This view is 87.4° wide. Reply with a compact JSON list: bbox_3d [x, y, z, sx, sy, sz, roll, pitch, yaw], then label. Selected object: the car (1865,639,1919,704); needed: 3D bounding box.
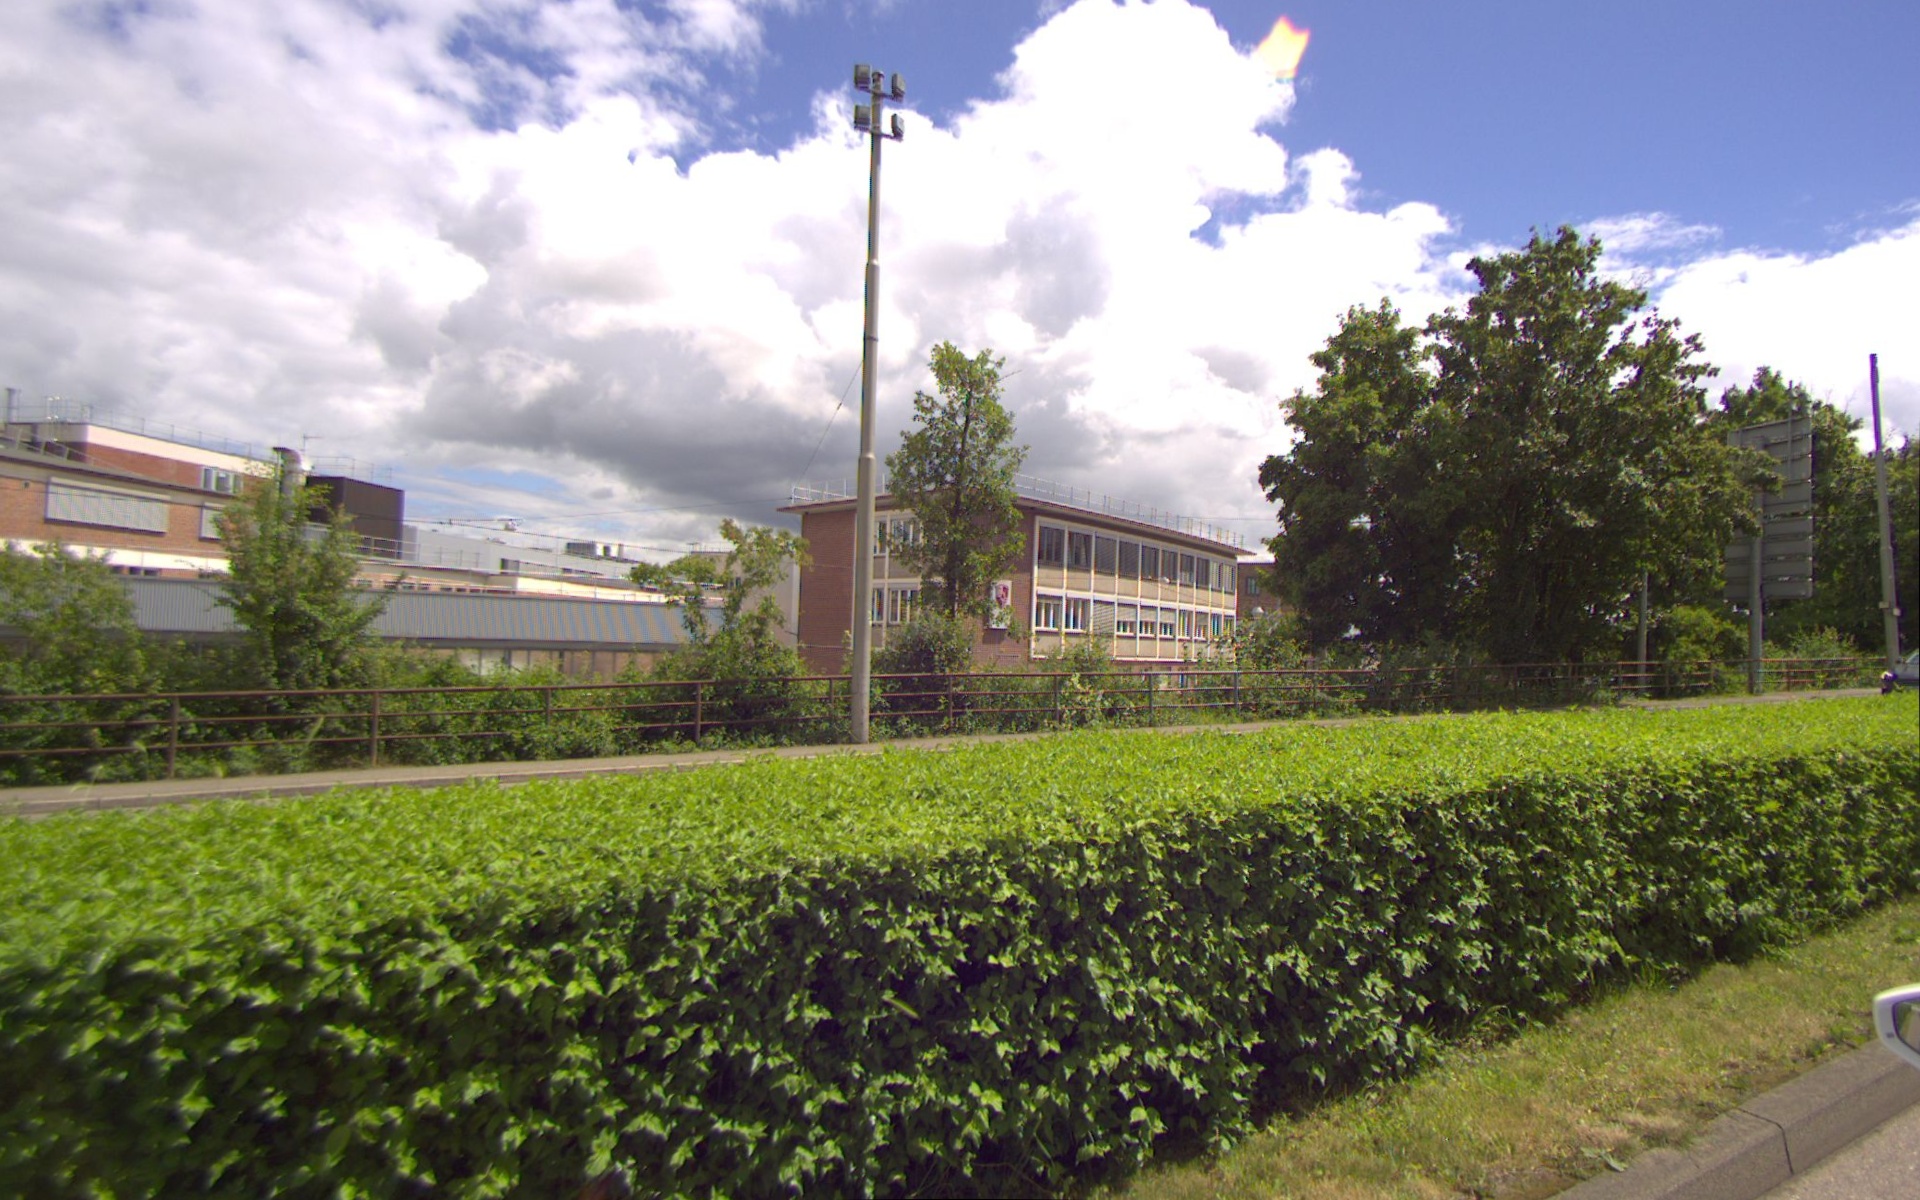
[{"bbox_3d":[24.516,1.733,24.810,4.505,1.527,1.832,1,-2,-29],"label":"car"}]
